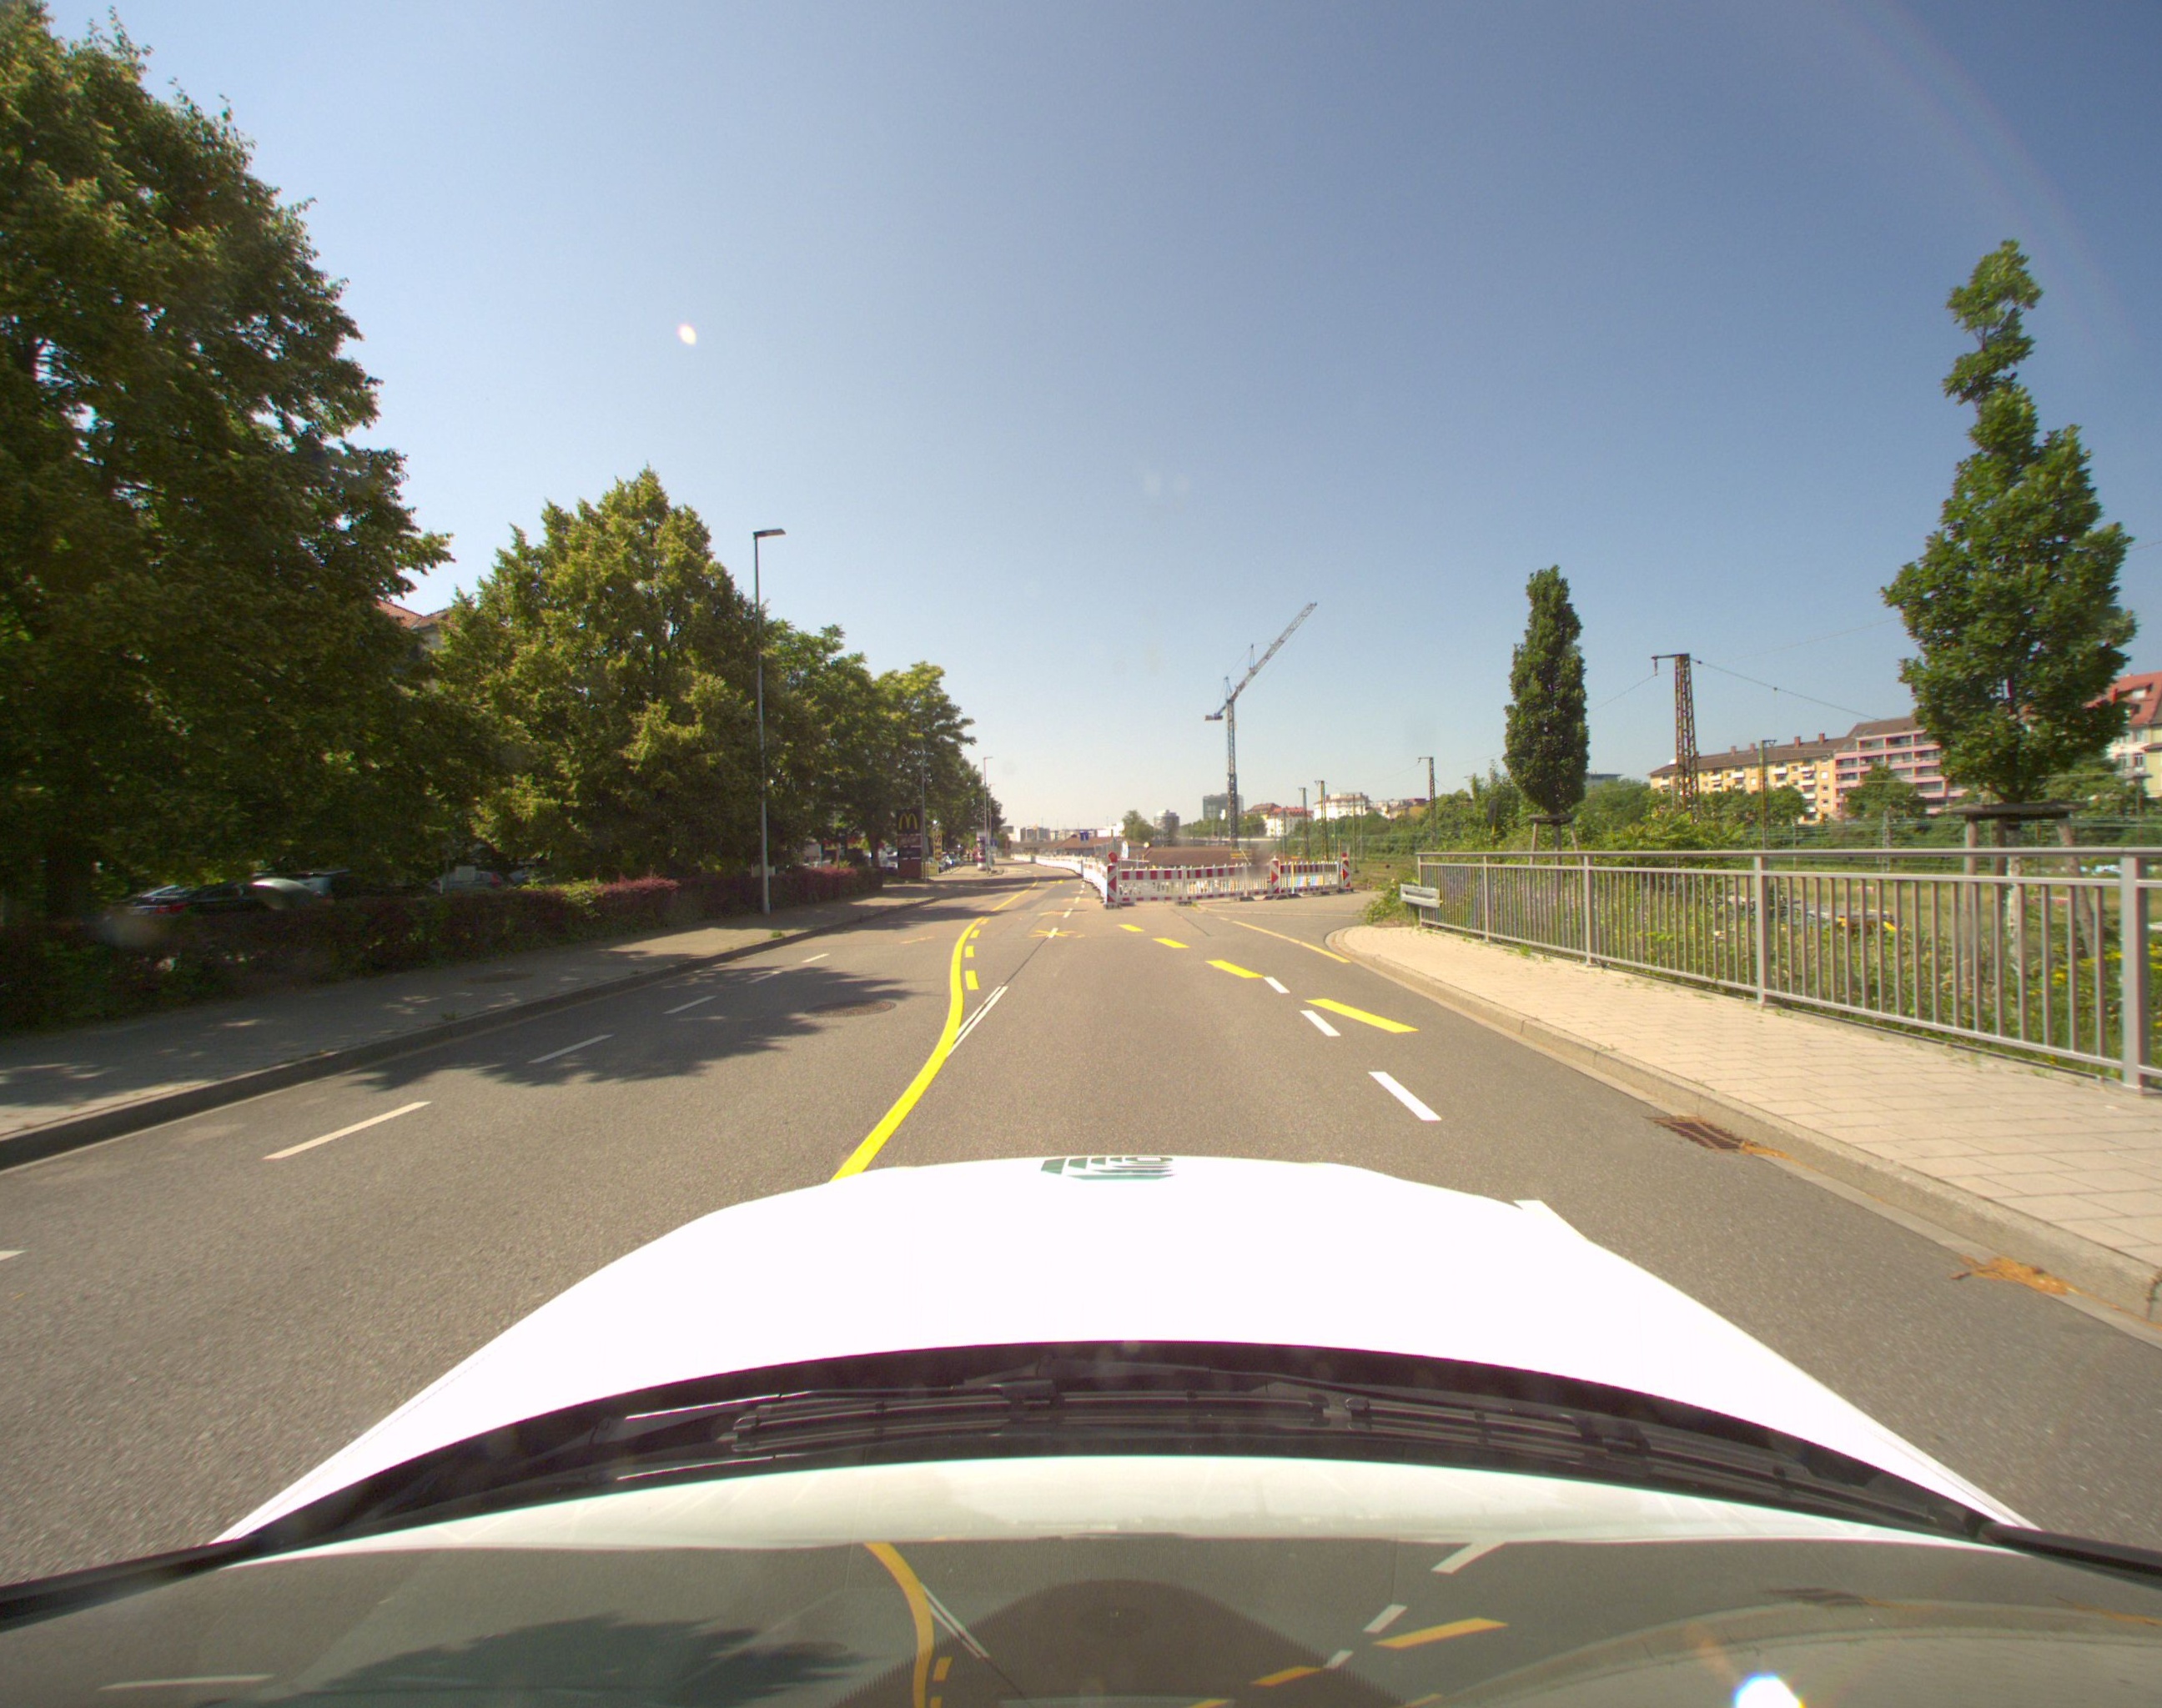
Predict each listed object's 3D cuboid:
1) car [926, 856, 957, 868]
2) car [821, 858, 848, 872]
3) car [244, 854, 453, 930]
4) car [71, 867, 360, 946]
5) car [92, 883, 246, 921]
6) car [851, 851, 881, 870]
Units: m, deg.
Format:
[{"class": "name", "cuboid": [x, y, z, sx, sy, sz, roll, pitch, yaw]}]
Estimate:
[{"class": "car", "cuboid": [-17.994, 1.059, 105.087, 3.647, 1.421, 1.579, -1, 0, 16]}, {"class": "car", "cuboid": [-26.004, 1.132, 85.812, 1.579, 1.421, 3.648, -1, 0, -35]}, {"class": "car", "cuboid": [-17.833, 0.853, 20.082, 1.676, 1.603, 3.757, -2, 0, 0]}, {"class": "car", "cuboid": [-20.269, 1.140, 19.449, 1.776, 1.510, 4.658, -2, 0, 2]}, {"class": "car", "cuboid": [-31.383, 1.627, 28.103, 3.378, 1.090, 1.403, -2, 0, -8]}, {"class": "car", "cuboid": [-22.916, 0.669, 86.767, 2.006, 1.904, 3.961, -1, 0, -31]}]
